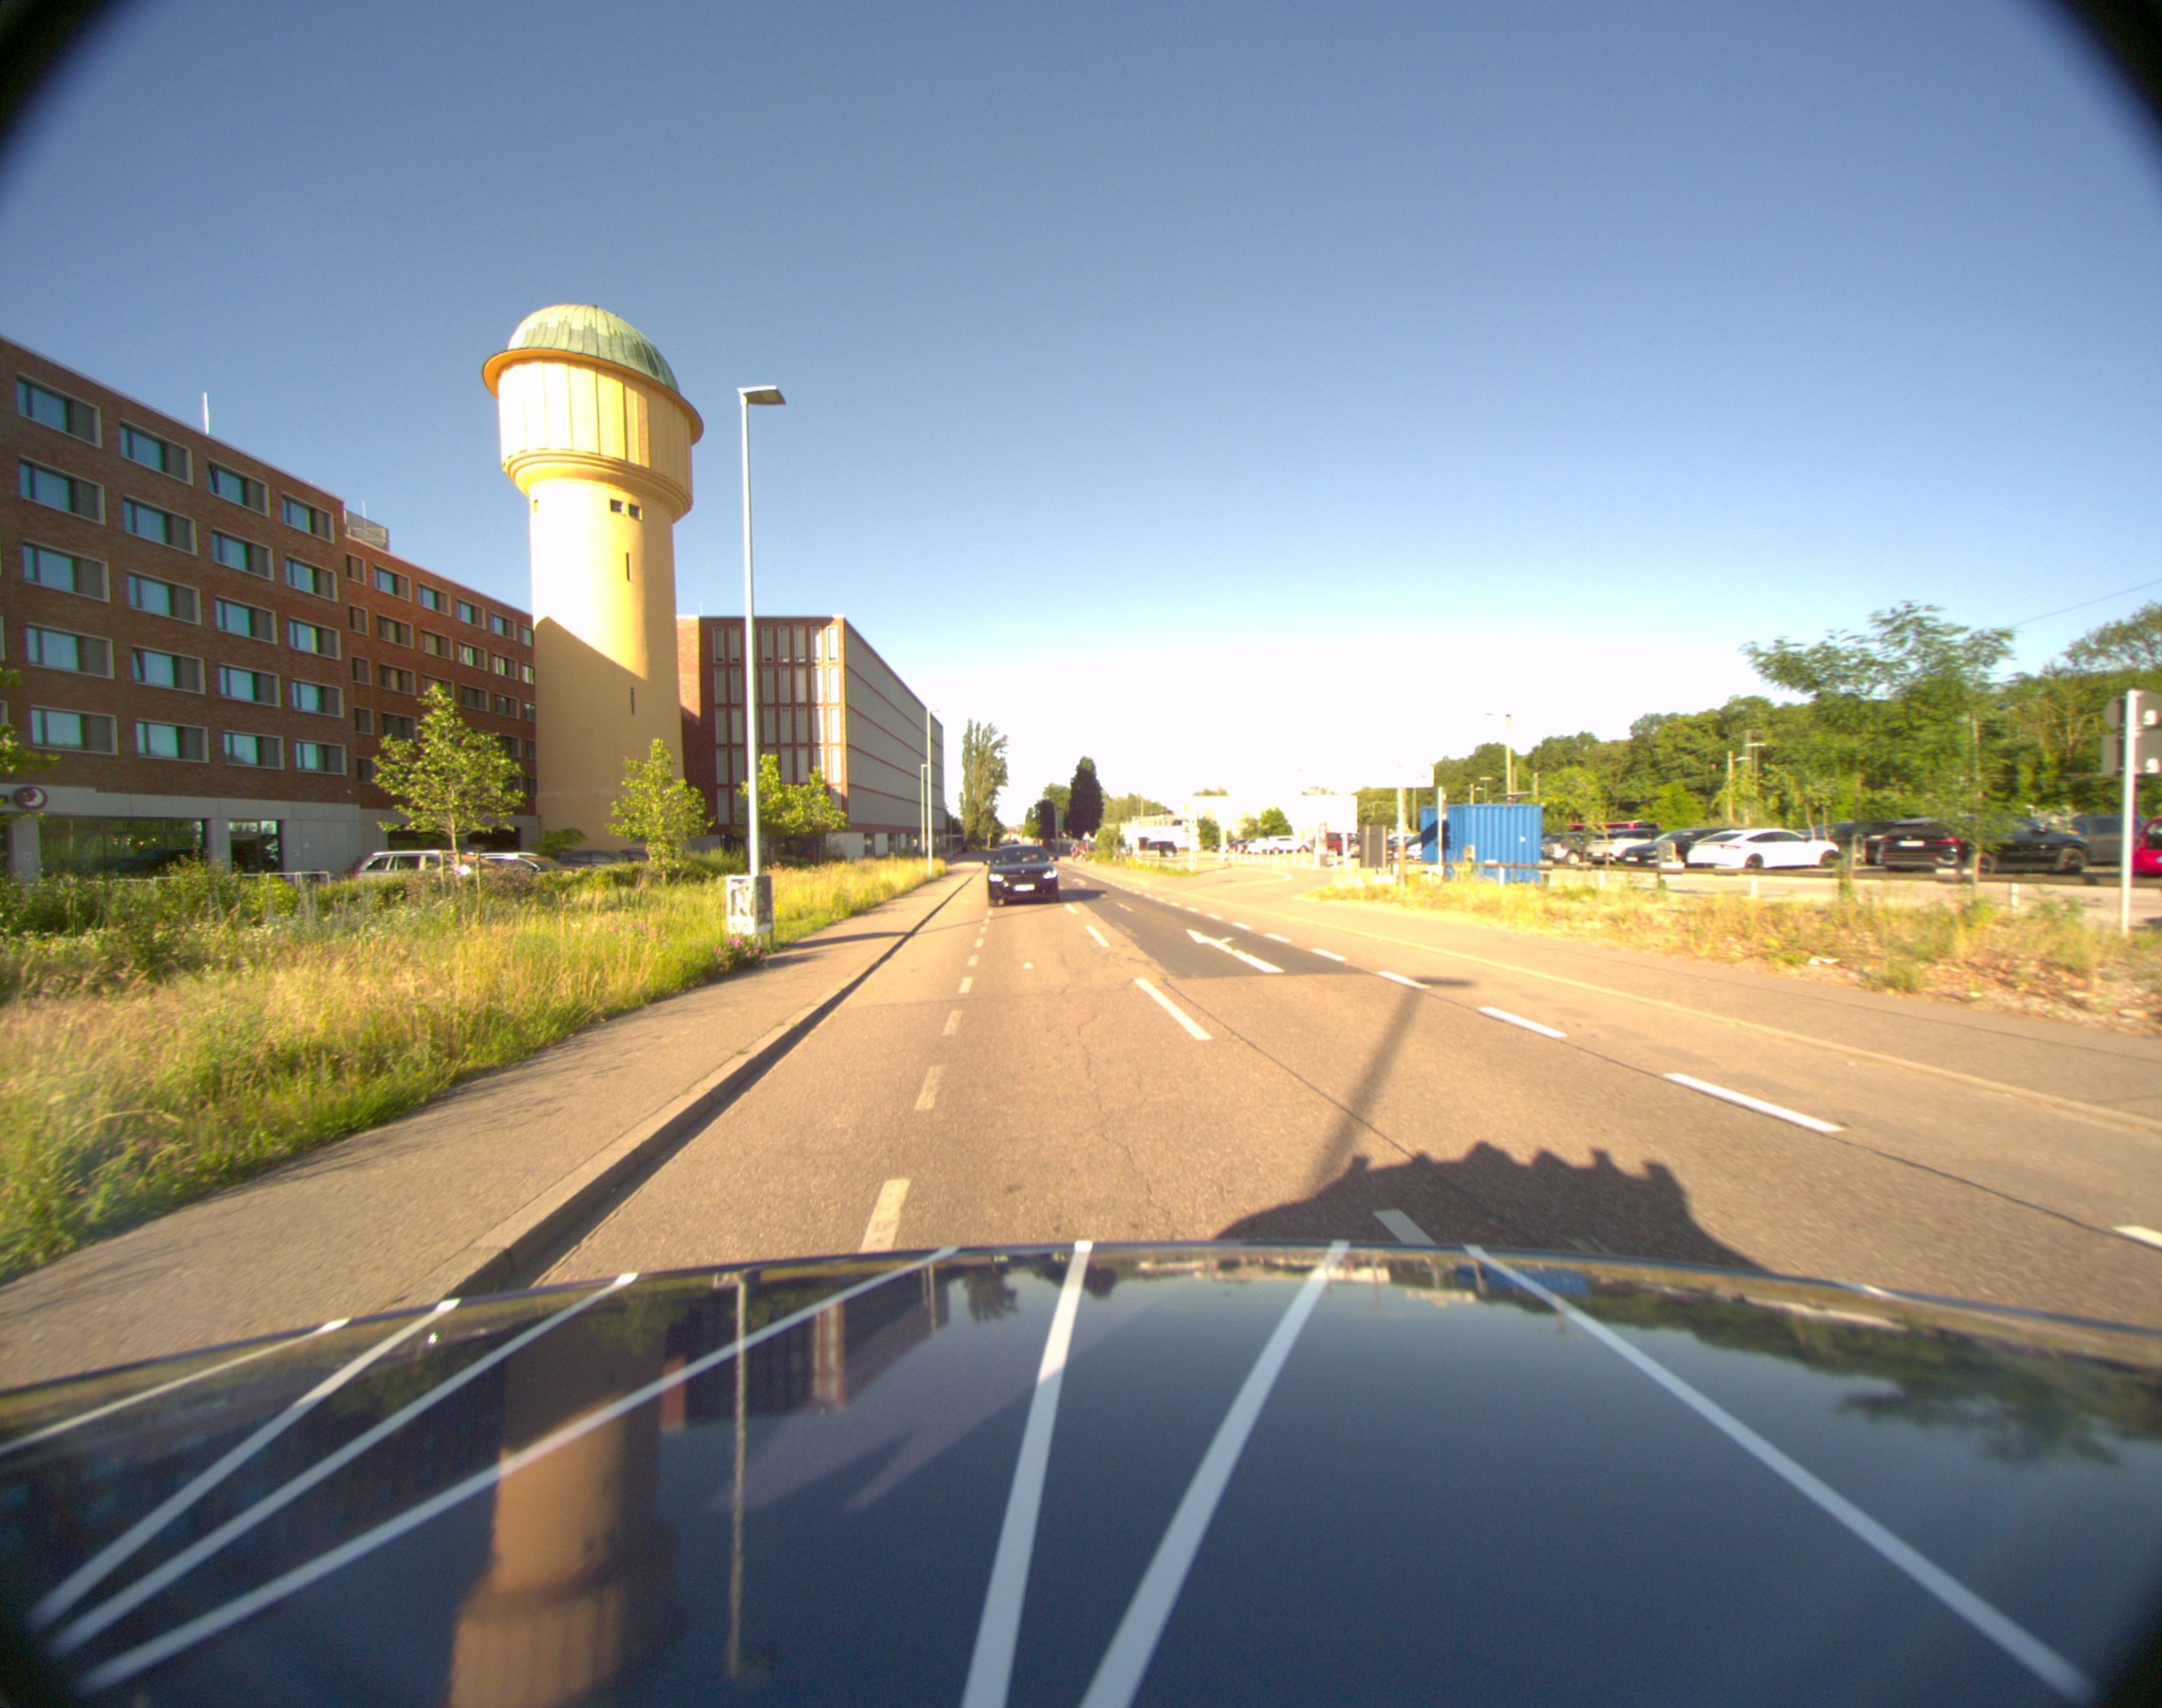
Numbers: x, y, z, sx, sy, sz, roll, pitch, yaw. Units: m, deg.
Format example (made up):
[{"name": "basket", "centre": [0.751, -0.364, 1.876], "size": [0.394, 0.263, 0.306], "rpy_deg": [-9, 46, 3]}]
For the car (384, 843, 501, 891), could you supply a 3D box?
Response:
[{"name": "car", "centre": [-32.322, 0.600, 38.695], "size": [1.868, 2.251, 4.935], "rpy_deg": [-2, 1, -3]}]

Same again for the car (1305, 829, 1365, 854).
[{"name": "car", "centre": [20.084, -1.012, 60.246], "size": [4.072, 1.767, 1.869], "rpy_deg": [-3, 1, 1]}]

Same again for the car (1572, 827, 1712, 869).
[{"name": "car", "centre": [22.682, -0.261, 30.796], "size": [4.446, 1.458, 1.868], "rpy_deg": [-3, 1, -7]}]

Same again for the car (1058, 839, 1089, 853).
[{"name": "car", "centre": [-1.515, -1.556, 147.878], "size": [5.772, 2.686, 1.999], "rpy_deg": [-2, 1, -5]}]

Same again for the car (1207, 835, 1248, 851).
[{"name": "car", "centre": [16.464, -1.268, 85.229], "size": [4.310, 1.600, 1.741], "rpy_deg": [-3, 1, -25]}]

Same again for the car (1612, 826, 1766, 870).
[{"name": "car", "centre": [22.434, -0.223, 28.118], "size": [4.446, 1.435, 1.868], "rpy_deg": [-2, 1, -7]}]

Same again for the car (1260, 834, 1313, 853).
[{"name": "car", "centre": [18.734, -0.978, 69.299], "size": [4.298, 1.538, 1.826], "rpy_deg": [-3, 1, -9]}]

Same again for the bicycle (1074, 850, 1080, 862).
[{"name": "bicycle", "centre": [-0.390, 0.209, 73.881], "size": [0.503, 1.118, 1.565], "rpy_deg": [-2, 1, -4]}]

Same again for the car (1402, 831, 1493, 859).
[{"name": "car", "centre": [21.210, -0.516, 44.072], "size": [4.446, 1.370, 1.868], "rpy_deg": [-3, 1, -7]}]

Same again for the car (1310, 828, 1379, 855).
[{"name": "car", "centre": [19.727, -0.942, 57.034], "size": [4.443, 1.767, 1.869], "rpy_deg": [-3, 1, 1]}]

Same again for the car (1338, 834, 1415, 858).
[{"name": "car", "centre": [20.153, -0.567, 51.943], "size": [4.443, 1.436, 1.921], "rpy_deg": [-3, 1, 1]}]

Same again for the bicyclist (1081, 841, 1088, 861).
[{"name": "bicyclist", "centre": [0.300, -0.316, 73.206], "size": [0.568, 1.860, 0.853], "rpy_deg": [-2, 1, -5]}]

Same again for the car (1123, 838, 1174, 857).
[{"name": "car", "centre": [6.843, -0.637, 77.282], "size": [4.813, 1.790, 1.999], "rpy_deg": [-2, 1, -5]}]

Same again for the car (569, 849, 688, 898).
[{"name": "car", "centre": [-19.944, 0.834, 33.619], "size": [3.997, 1.969, 1.999], "rpy_deg": [-2, 1, -1]}]

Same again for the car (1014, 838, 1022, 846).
[{"name": "car", "centre": [-16.340, -3.106, 196.280], "size": [1.999, 2.002, 3.997], "rpy_deg": [-2, 1, -5]}]

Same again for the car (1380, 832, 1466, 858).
[{"name": "car", "centre": [20.850, -0.539, 46.395], "size": [4.446, 1.370, 1.868], "rpy_deg": [-3, 1, -7]}]

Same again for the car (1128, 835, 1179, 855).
[{"name": "car", "centre": [7.125, -0.865, 74.538], "size": [4.656, 1.731, 1.800], "rpy_deg": [-3, 1, -6]}]

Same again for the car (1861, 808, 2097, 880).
[{"name": "car", "centre": [23.316, -0.261, 19.817], "size": [4.202, 1.580, 1.985], "rpy_deg": [-3, 1, -7]}]

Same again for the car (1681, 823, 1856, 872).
[{"name": "car", "centre": [22.931, -0.238, 25.424], "size": [4.446, 1.370, 1.868], "rpy_deg": [-3, 1, -7]}]

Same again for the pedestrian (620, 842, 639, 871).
[{"name": "pedestrian", "centre": [-28.899, 0.153, 48.640], "size": [0.897, 1.853, 0.969], "rpy_deg": [-3, 2, -26]}]

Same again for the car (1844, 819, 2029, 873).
[{"name": "car", "centre": [28.364, -0.275, 25.261], "size": [4.446, 1.542, 1.868], "rpy_deg": [-3, 1, -7]}]

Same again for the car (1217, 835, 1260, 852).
[{"name": "car", "centre": [17.145, -1.182, 82.722], "size": [4.326, 1.615, 1.782], "rpy_deg": [-3, 1, -25]}]

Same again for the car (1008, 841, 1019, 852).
[{"name": "car", "centre": [-13.060, -1.445, 146.807], "size": [1.999, 2.002, 3.997], "rpy_deg": [-2, 1, -5]}]

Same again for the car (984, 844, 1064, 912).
[{"name": "car", "centre": [-1.702, 0.593, 22.404], "size": [2.048, 1.704, 4.748], "rpy_deg": [-2, 1, -5]}]

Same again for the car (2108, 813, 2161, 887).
[{"name": "car", "centre": [24.273, -0.151, 15.795], "size": [3.999, 1.496, 1.725], "rpy_deg": [-2, 2, -7]}]

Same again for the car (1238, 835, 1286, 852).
[{"name": "car", "centre": [17.617, -0.988, 74.044], "size": [4.157, 1.479, 1.764], "rpy_deg": [-3, 1, -10]}]

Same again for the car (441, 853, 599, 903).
[{"name": "car", "centre": [-19.190, 0.798, 26.138], "size": [3.997, 1.541, 1.834], "rpy_deg": [-2, 1, -1]}]

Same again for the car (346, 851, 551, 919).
[{"name": "car", "centre": [-18.989, 0.889, 22.990], "size": [4.331, 1.818, 1.999], "rpy_deg": [-2, 1, -4]}]

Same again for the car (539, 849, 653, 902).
[{"name": "car", "centre": [-20.016, 0.868, 31.485], "size": [3.483, 2.010, 1.835], "rpy_deg": [-2, 1, -4]}]

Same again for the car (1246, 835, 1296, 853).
[{"name": "car", "centre": [17.899, -0.956, 71.549], "size": [4.159, 1.477, 1.760], "rpy_deg": [-3, 1, -9]}]

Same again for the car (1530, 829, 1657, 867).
[{"name": "car", "centre": [22.514, -0.289, 33.463], "size": [4.446, 1.421, 1.868], "rpy_deg": [-3, 1, -7]}]

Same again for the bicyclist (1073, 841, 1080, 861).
[{"name": "bicyclist", "centre": [-0.399, -0.303, 73.910], "size": [0.568, 1.860, 0.853], "rpy_deg": [-2, 1, -5]}]

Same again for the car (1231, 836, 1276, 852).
[{"name": "car", "centre": [17.429, -1.026, 76.804], "size": [4.013, 1.479, 1.764], "rpy_deg": [-3, 1, -9]}]

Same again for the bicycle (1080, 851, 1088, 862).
[{"name": "bicycle", "centre": [0.297, 0.221, 73.224], "size": [0.558, 1.058, 1.723], "rpy_deg": [-2, 1, -4]}]
